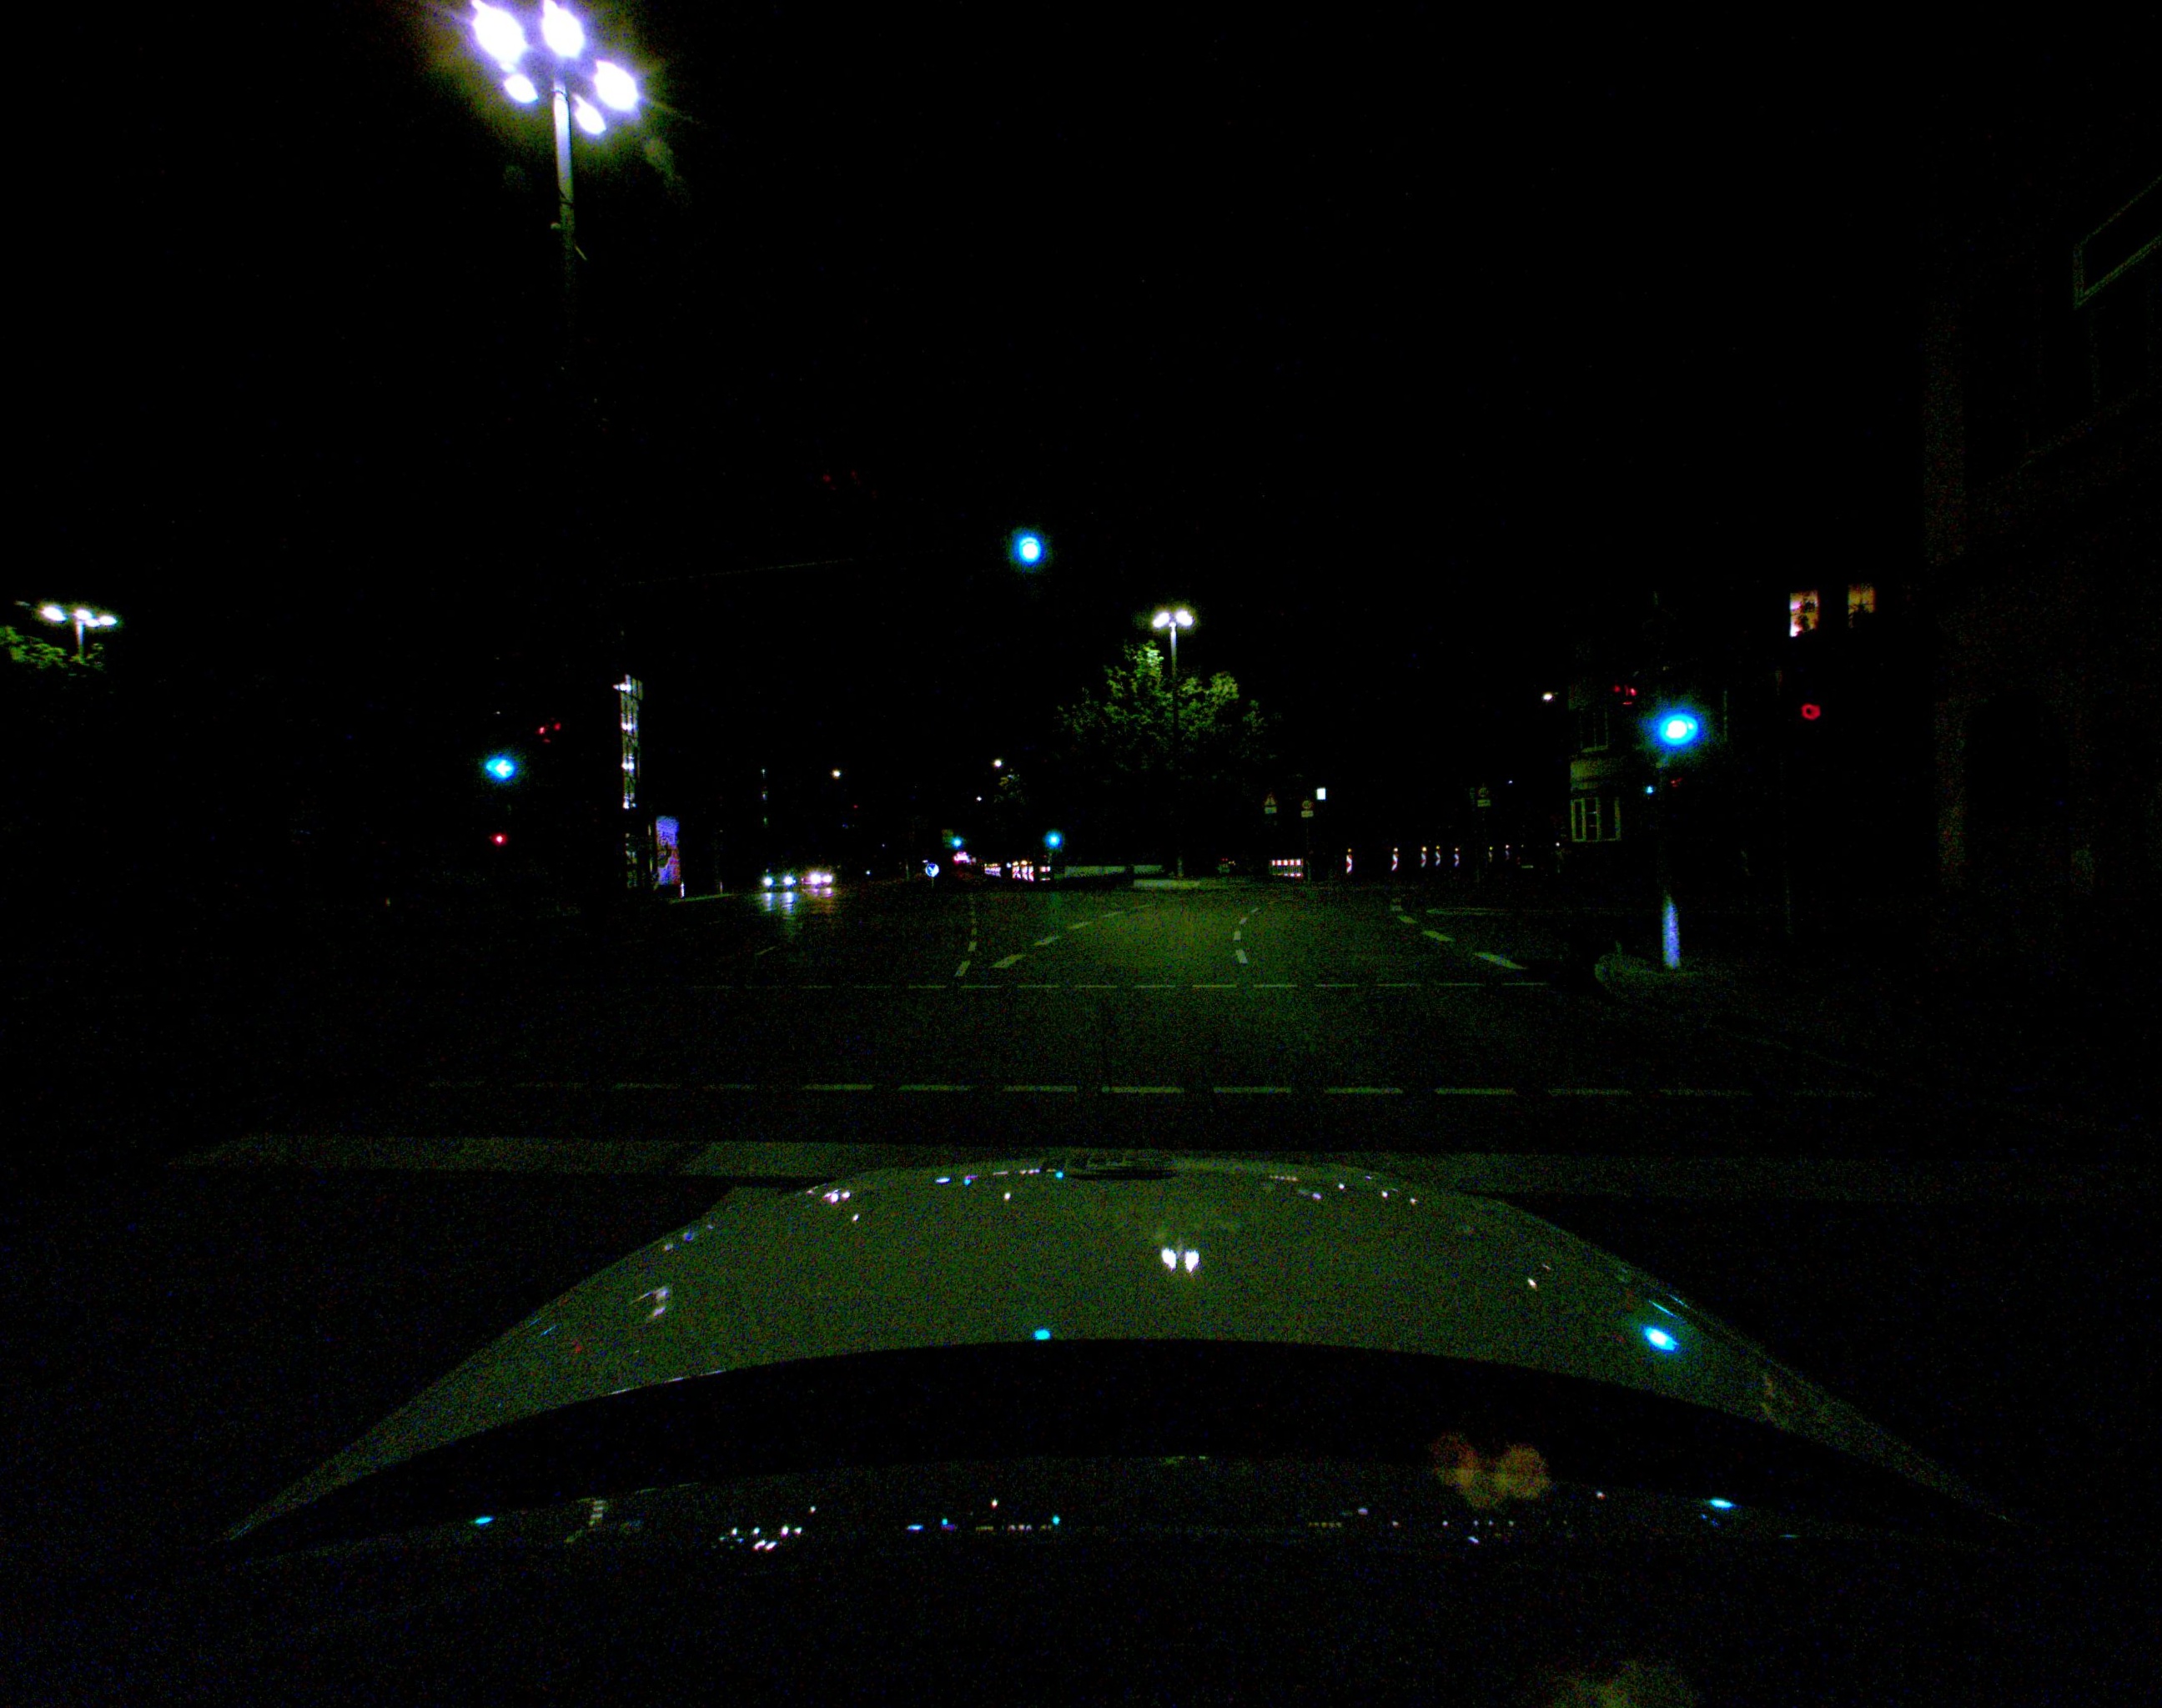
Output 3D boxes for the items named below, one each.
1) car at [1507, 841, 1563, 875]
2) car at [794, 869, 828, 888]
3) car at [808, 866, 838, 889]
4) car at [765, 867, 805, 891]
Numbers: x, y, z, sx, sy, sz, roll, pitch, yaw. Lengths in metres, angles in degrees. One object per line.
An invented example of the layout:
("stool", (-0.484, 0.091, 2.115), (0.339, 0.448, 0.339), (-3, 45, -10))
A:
("car", (22.608, 0.201, 40.500), (1.711, 1.612, 3.646), (-3, -1, 41))
("car", (-20.550, 1.852, 62.127), (1.756, 1.322, 3.538), (-1, -1, -7))
("car", (-21.322, 1.932, 67.450), (1.756, 1.728, 3.538), (-1, -1, -7))
("car", (-19.854, 1.666, 54.772), (1.614, 1.515, 3.990), (-1, -1, -7))
